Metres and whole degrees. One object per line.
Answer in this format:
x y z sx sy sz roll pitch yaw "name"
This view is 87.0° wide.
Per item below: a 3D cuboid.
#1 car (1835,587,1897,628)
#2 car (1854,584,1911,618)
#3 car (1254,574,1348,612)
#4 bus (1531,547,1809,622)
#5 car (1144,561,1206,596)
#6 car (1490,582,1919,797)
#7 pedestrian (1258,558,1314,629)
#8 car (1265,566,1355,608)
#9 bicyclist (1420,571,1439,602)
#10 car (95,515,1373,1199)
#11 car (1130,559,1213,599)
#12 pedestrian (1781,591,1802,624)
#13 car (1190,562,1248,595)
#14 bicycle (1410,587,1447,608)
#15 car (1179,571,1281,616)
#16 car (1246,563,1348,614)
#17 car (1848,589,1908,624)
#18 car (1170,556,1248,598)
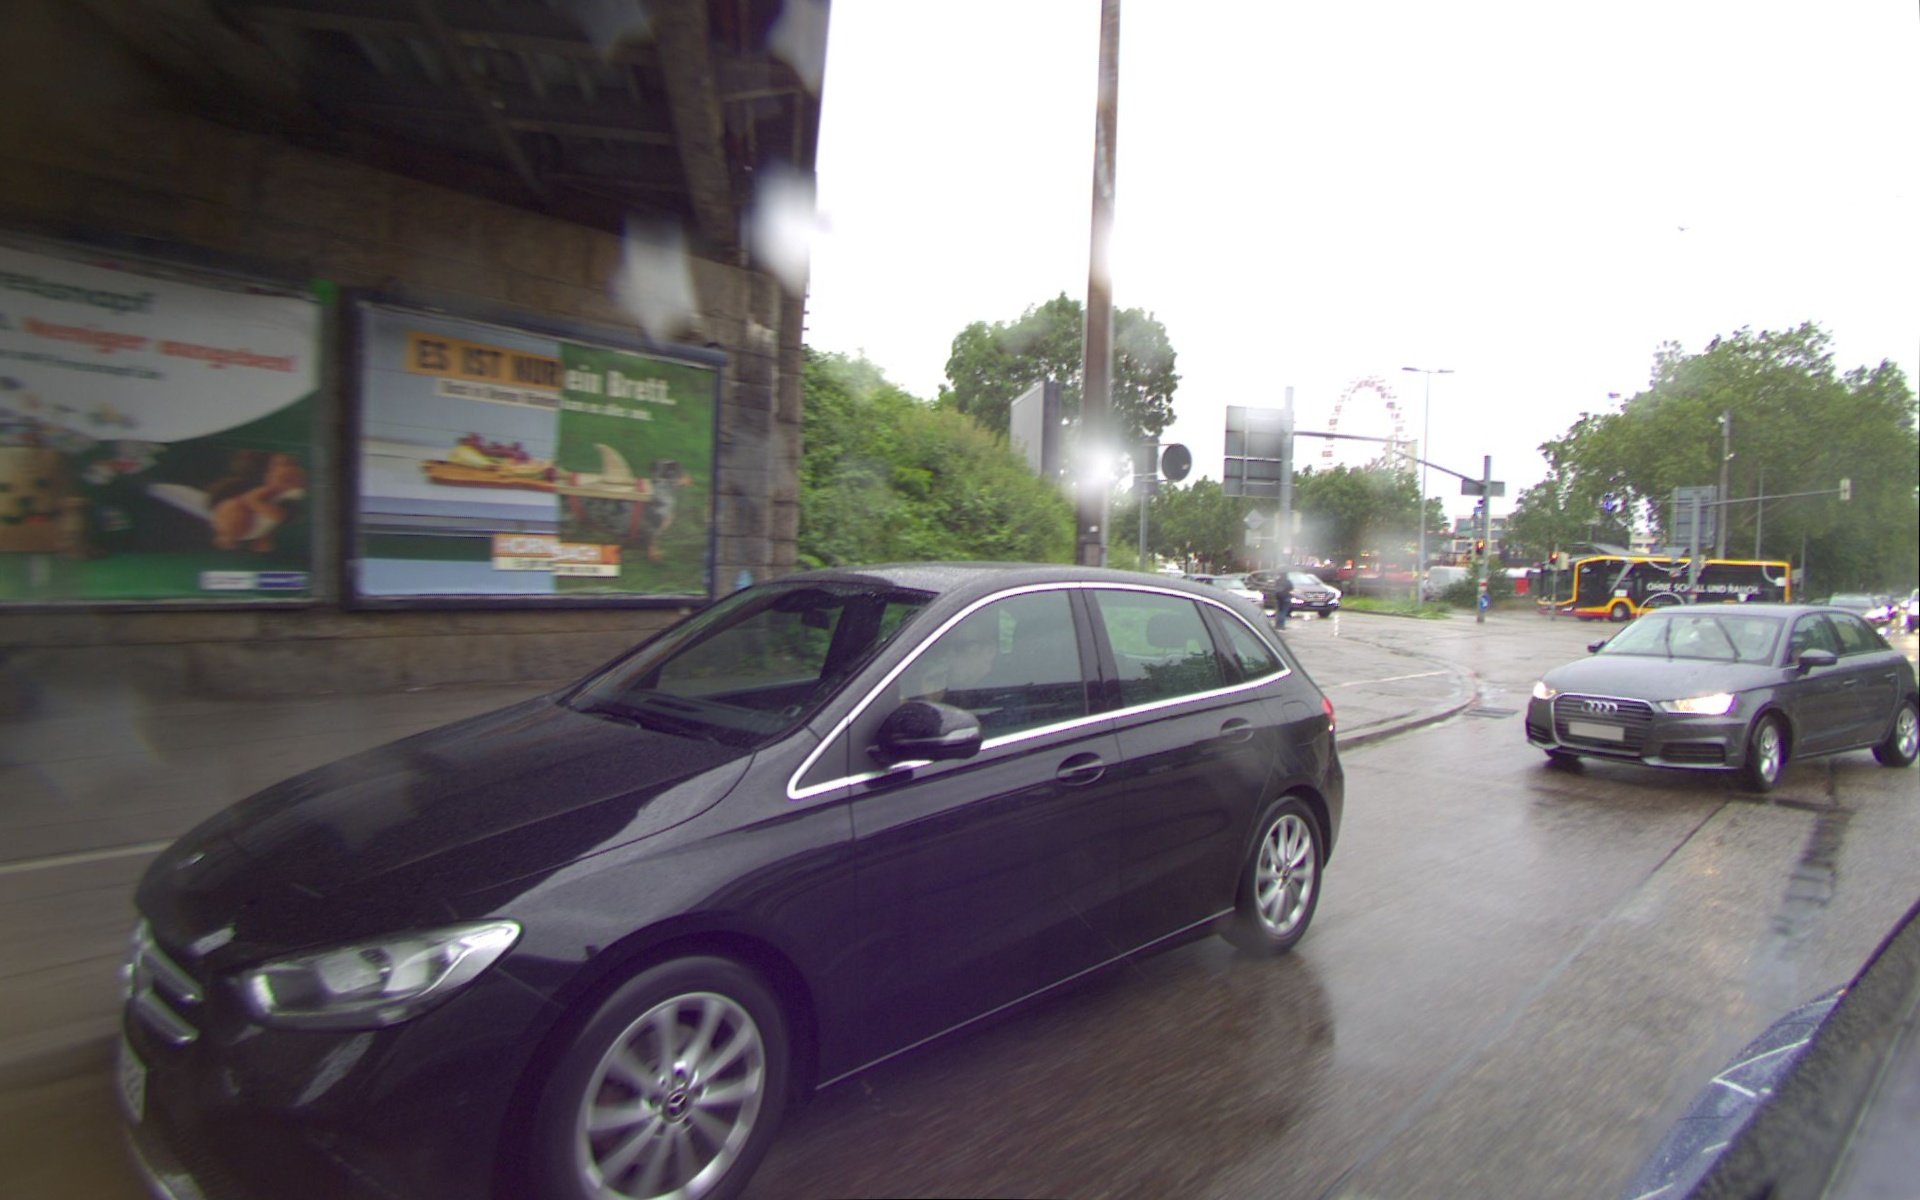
40.309 0.286 45.011 1.928 1.671 4.275 4 3 43 "car"
56.635 0.030 62.193 2.067 1.871 4.683 3 3 37 "car"
14.278 -0.343 42.592 1.794 1.374 4.010 1 3 -15 "car"
35.353 -0.803 50.614 12.041 3.308 3.280 1 2 -6 "bus"
11.826 -1.210 55.836 1.832 1.741 4.009 1 3 -11 "car"
6.645 0.600 8.732 3.677 1.415 1.846 -1 2 -26 "car"
8.283 -0.168 25.725 0.984 1.740 0.822 1 2 -18 "pedestrian"
16.254 -0.653 47.270 2.132 1.741 4.311 2 3 -8 "car"
29.229 -0.830 62.994 0.754 1.904 0.623 1 2 -13 "bicyclist"
-0.382 0.584 3.584 4.018 1.542 1.873 0 3 -43 "car"
8.778 -0.906 42.335 1.794 1.500 4.010 1 3 -13 "car"
42.558 0.392 51.792 0.615 1.672 0.644 2 1 -39 "pedestrian"
14.953 -1.258 58.619 1.571 1.741 4.010 1 3 -13 "car"
29.197 -0.183 63.089 0.804 1.179 2.265 1 2 -14 "bicycle"
9.652 -0.270 36.485 1.859 1.365 4.010 1 3 -12 "car"
12.432 -0.477 37.659 1.988 1.677 4.069 2 3 -7 "car"
51.323 0.317 56.634 1.879 1.775 3.950 3 3 35 "car"
10.745 -1.035 43.996 1.824 1.629 4.008 2 3 -9 "car"
